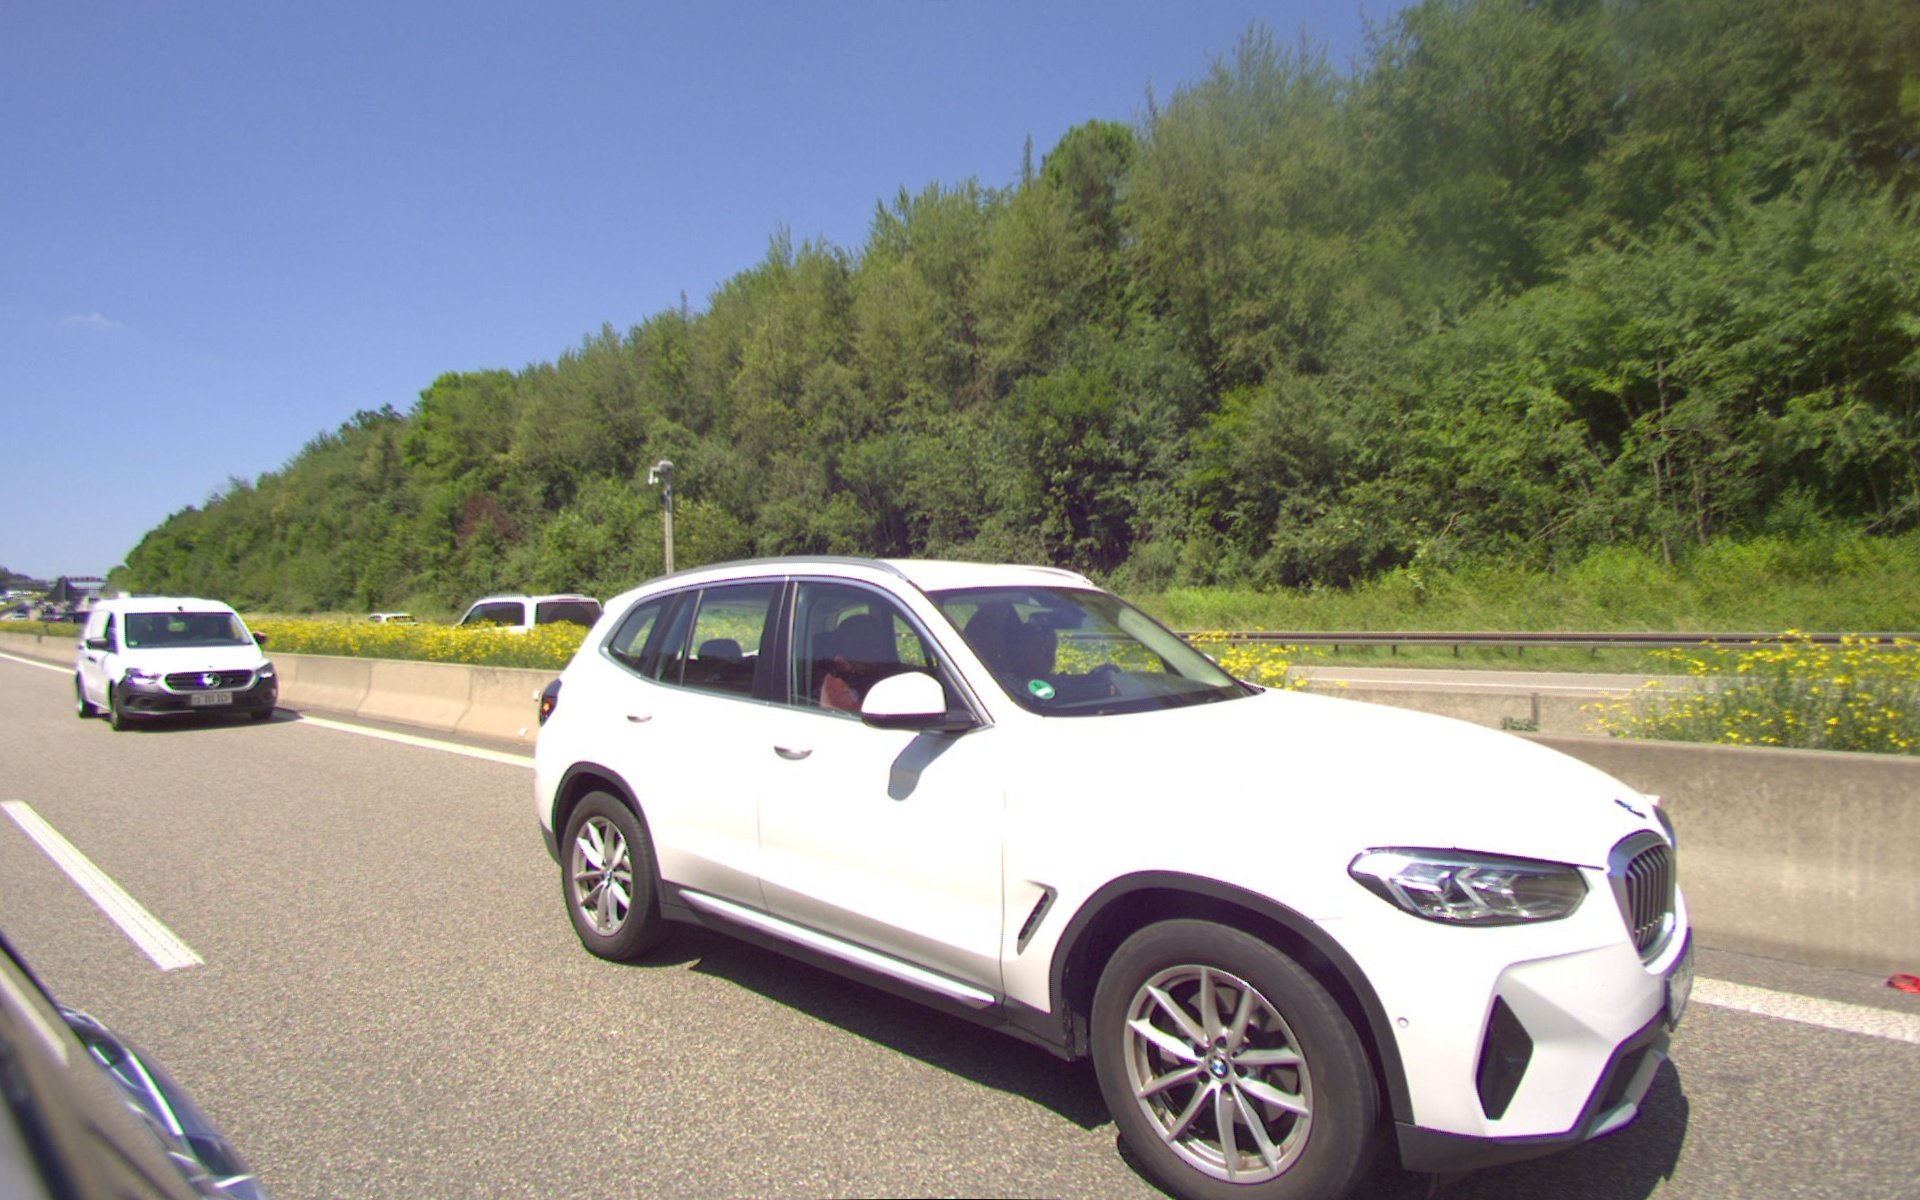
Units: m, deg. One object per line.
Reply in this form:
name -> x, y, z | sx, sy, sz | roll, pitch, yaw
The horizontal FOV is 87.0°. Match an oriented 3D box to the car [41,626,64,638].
car -> -121.642, 4.252, 135.619 | 4.000, 1.584, 1.972 | -1, 0, 43

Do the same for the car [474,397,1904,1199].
car -> 0.165, 0.594, 3.890 | 4.953, 1.707, 1.845 | -2, -1, 41

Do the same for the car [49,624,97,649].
car -> -58.416, 2.397, 66.634 | 4.875, 1.484, 1.971 | -1, 0, 44

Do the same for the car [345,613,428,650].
car -> -26.887, 1.476, 47.404 | 4.481, 1.629, 1.973 | -2, -1, 41

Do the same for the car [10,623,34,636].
car -> -113.470, 3.507, 122.438 | 4.001, 1.497, 1.971 | -1, 0, 44

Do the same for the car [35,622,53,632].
car -> -154.795, 4.568, 171.079 | 3.980, 1.654, 1.927 | -2, -1, 43

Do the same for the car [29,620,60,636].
car -> -88.520, 2.693, 97.833 | 4.001, 1.497, 1.971 | -1, 0, 44

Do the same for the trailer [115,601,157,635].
trailer -> -105.824, 2.241, 129.873 | 13.939, 4.239, 2.684 | -1, 0, 45

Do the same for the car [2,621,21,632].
car -> -152.857, 4.290, 163.119 | 4.080, 1.691, 1.972 | -2, -1, 43

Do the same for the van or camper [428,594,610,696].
van or camper -> -9.815, 0.911, 22.369 | 4.585, 2.029, 1.863 | -1, 0, 40

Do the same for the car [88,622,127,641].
car -> -69.250, 2.534, 82.175 | 3.999, 1.497, 1.972 | -1, 0, 42

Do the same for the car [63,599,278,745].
car -> -11.713, 0.955, 14.892 | 4.673, 1.826, 1.746 | -2, -1, 42
